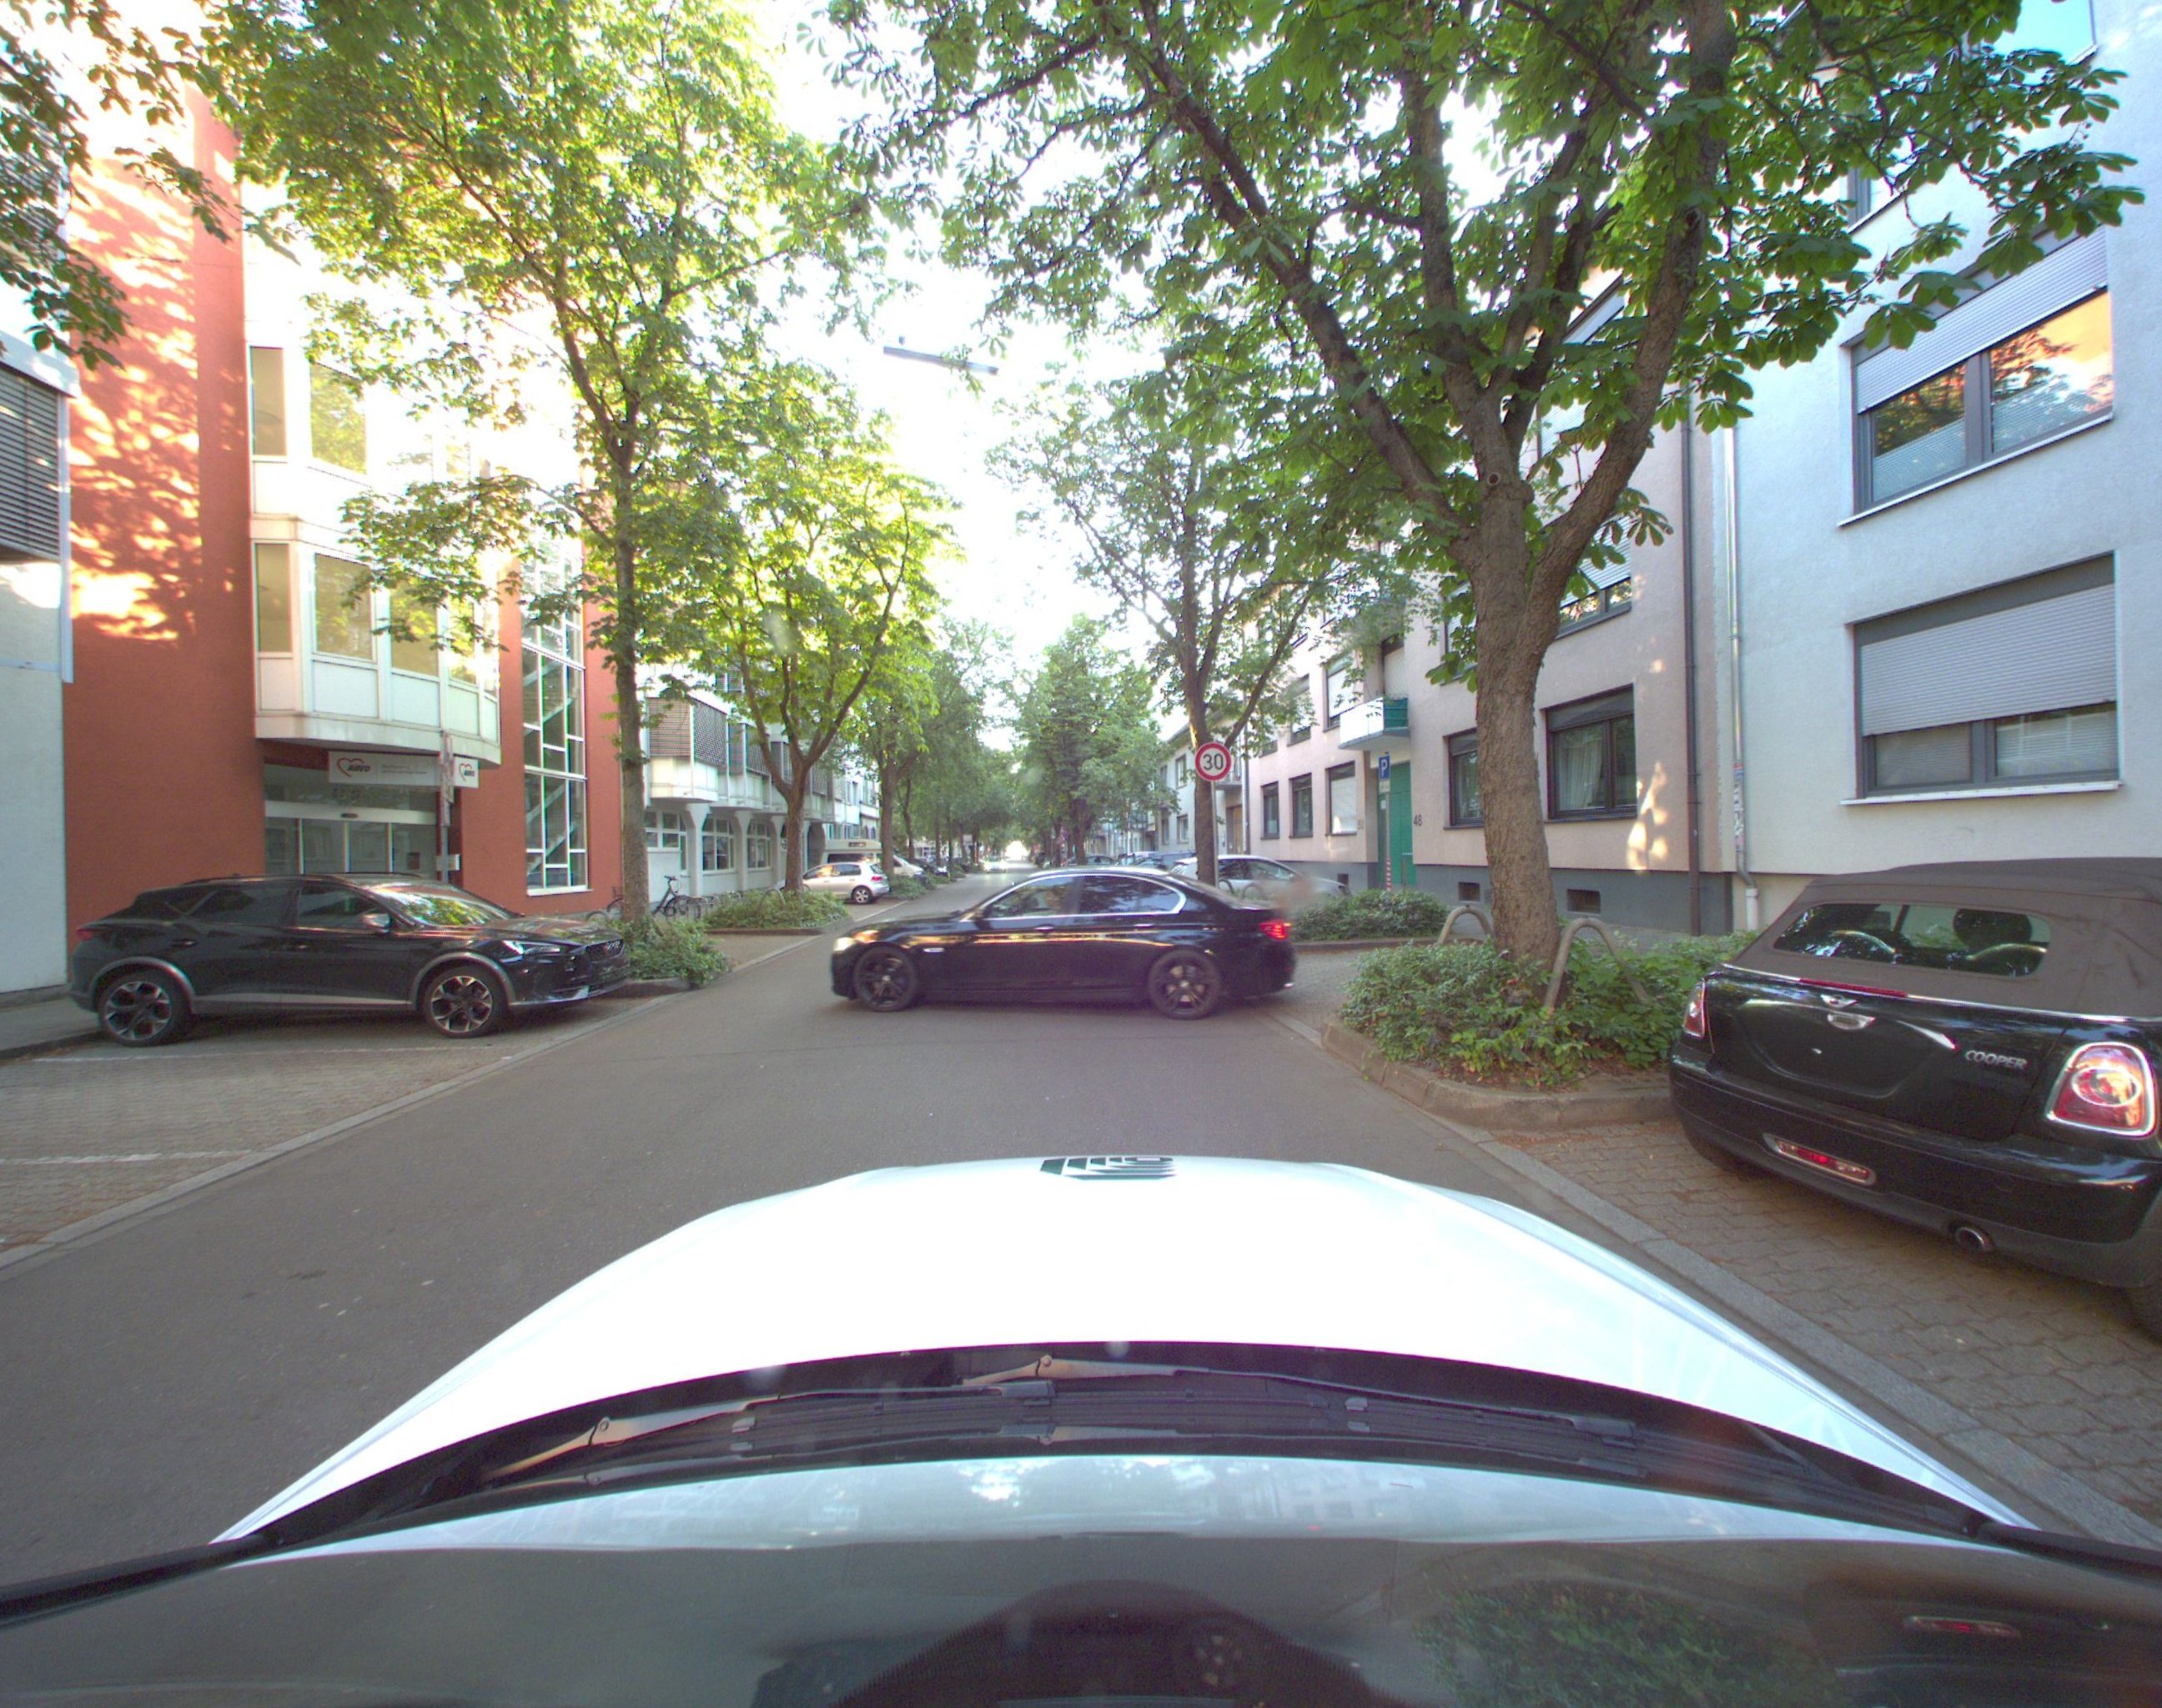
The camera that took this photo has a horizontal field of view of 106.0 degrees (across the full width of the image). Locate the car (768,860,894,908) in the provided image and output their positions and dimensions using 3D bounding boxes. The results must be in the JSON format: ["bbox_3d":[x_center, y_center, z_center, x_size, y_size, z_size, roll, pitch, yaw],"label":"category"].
[{"bbox_3d":[-8.853,1.048,29.086,3.960,1.517,1.783,-2,0,-4],"label":"car"}]

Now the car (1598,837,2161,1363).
[{"bbox_3d":[4.343,0.630,3.272,3.608,1.363,1.660,-2,0,-8],"label":"car"}]

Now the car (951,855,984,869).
[{"bbox_3d":[-14.287,1.020,102.881,3.959,1.619,1.783,-2,0,-4],"label":"car"}]

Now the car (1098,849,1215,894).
[{"bbox_3d":[2.712,0.628,29.754,3.963,1.476,1.781,-2,0,-7],"label":"car"}]

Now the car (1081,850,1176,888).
[{"bbox_3d":[2.070,0.664,36.245,3.962,1.527,1.782,-2,0,-5],"label":"car"}]

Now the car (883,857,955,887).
[{"bbox_3d":[-9.601,1.044,48.423,3.960,1.619,1.783,-2,0,-4],"label":"car"}]

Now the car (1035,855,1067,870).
[{"bbox_3d":[-3.736,1.055,101.056,3.959,1.684,1.783,-2,0,-4],"label":"car"}]

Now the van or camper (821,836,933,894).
[{"bbox_3d":[-9.299,0.484,37.420,4.656,2.478,1.997,-2,0,-5],"label":"van or camper"}]

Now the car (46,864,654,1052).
[{"bbox_3d":[-7.027,0.930,8.275,4.347,1.517,1.782,-2,0,-5],"label":"car"}]

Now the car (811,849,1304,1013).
[{"bbox_3d":[-0.180,0.755,8.612,4.717,1.480,1.805,-2,0,9],"label":"car"}]

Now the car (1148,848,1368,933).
[{"bbox_3d":[3.427,0.672,16.121,3.904,1.476,1.661,-2,0,-7],"label":"car"}]

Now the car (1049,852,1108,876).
[{"bbox_3d":[-0.182,0.657,56.990,3.963,1.527,1.781,-2,0,-6],"label":"car"}]

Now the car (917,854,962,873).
[{"bbox_3d":[-13.314,0.866,76.628,3.959,1.619,1.783,-2,0,-4],"label":"car"}]

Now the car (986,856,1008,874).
[{"bbox_3d":[-7.826,1.034,76.133,1.775,1.562,4.162,-1,0,-4],"label":"car"}]

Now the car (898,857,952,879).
[{"bbox_3d":[-12.405,1.069,64.969,3.959,1.619,1.783,-2,0,-4],"label":"car"}]

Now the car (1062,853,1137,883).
[{"bbox_3d":[1.011,0.740,45.087,3.962,1.527,1.782,-2,0,-5],"label":"car"}]

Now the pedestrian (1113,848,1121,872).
[{"bbox_3d":[3.027,0.477,67.877,0.587,2.013,0.669,-1,0,-3],"label":"pedestrian"}]

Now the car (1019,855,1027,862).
[{"bbox_3d":[-14.510,1.133,203.475,1.819,1.530,3.995,-2,0,-4],"label":"car"}]
